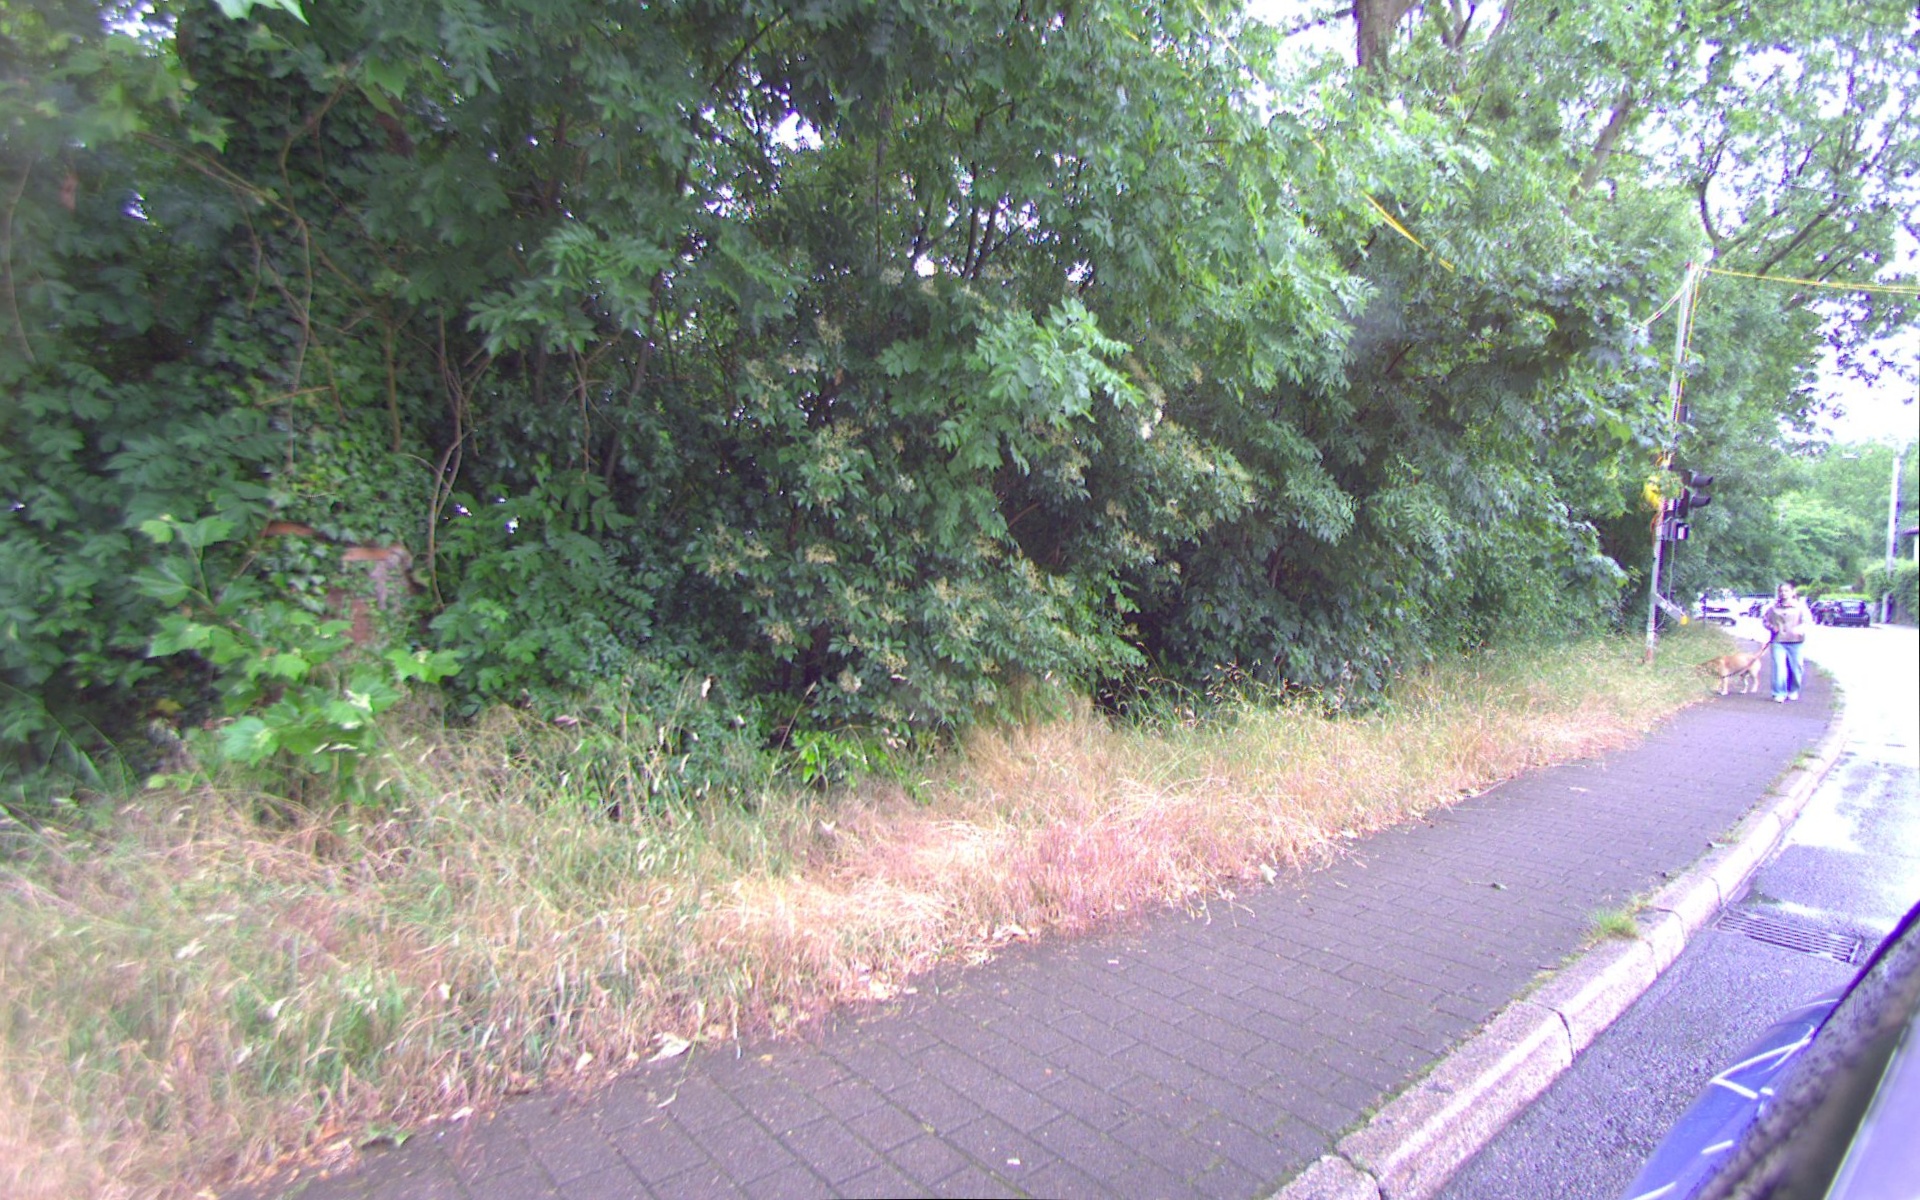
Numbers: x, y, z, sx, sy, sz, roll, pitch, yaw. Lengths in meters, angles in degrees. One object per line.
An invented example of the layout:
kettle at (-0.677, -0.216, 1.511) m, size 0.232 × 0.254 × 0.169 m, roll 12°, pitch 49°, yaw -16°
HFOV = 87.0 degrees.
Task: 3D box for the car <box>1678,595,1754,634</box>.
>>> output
car at (40.470, 0.717, 54.321) m, size 2.079 × 1.943 × 5.052 m, roll 0°, pitch 0°, yaw 22°

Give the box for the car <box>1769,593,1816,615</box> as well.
car at (60.753, 0.284, 73.921) m, size 2.055 × 1.504 × 4.509 m, roll 1°, pitch 1°, yaw 33°

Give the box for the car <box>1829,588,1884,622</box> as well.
car at (51.065, 0.272, 57.709) m, size 1.869 × 1.848 × 4.075 m, roll 1°, pitch 1°, yaw 35°

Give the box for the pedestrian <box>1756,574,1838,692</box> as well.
pedestrian at (11.213, 0.423, 13.560) m, size 0.771 × 1.518 × 0.734 m, roll 0°, pitch 0°, yaw -42°

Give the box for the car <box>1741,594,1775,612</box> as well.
car at (64.947, 0.204, 82.374) m, size 1.676 × 1.445 × 3.734 m, roll 1°, pitch 1°, yaw 31°
